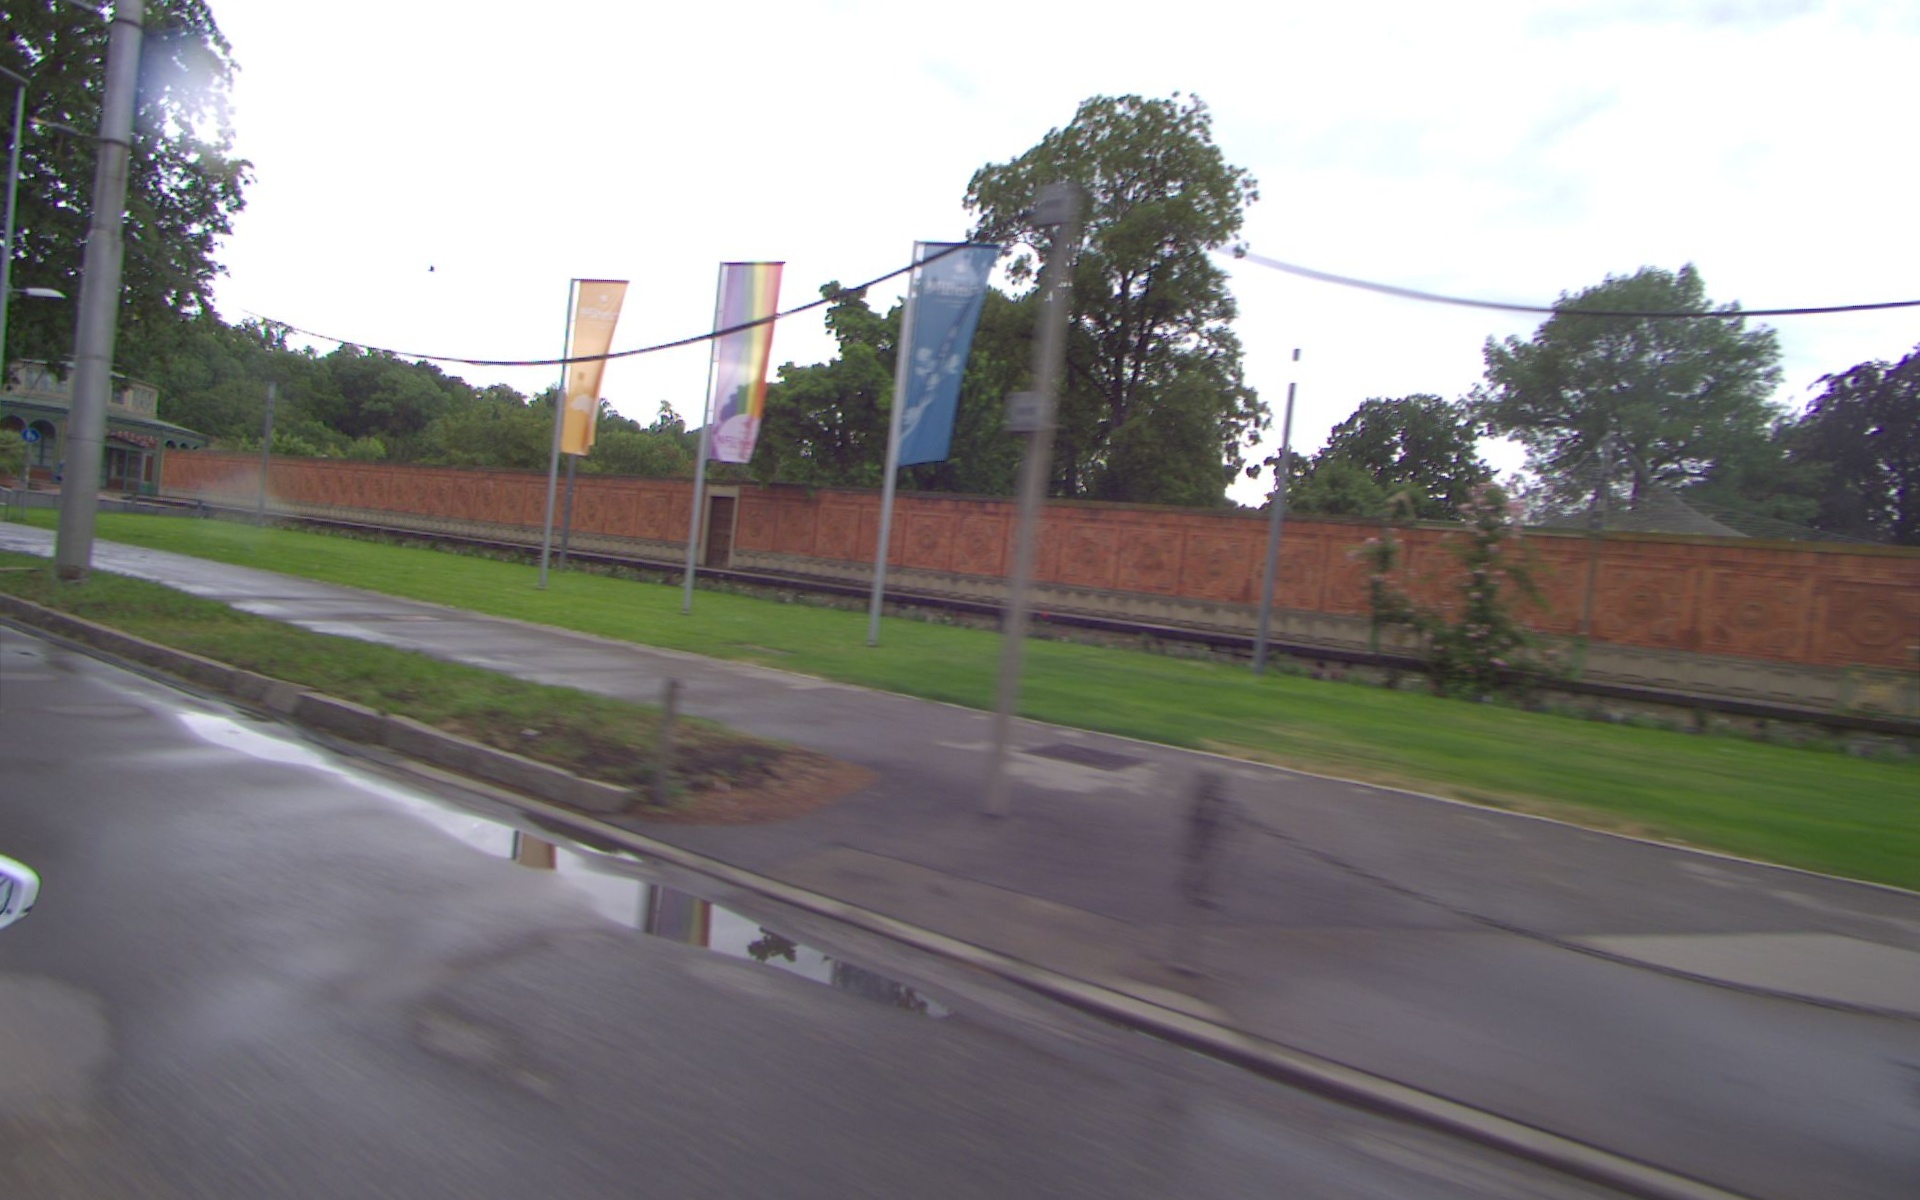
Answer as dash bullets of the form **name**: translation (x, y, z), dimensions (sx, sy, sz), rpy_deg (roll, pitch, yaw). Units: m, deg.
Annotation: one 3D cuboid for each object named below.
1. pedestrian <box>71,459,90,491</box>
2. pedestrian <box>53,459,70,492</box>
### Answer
- **pedestrian**: translation (-49.620, -7.048, 56.773), dimensions (0.544, 1.677, 0.467), rpy_deg (6, 0, -23)
- **pedestrian**: translation (-50.474, -7.011, 56.503), dimensions (0.686, 1.730, 0.530), rpy_deg (5, -2, 44)
